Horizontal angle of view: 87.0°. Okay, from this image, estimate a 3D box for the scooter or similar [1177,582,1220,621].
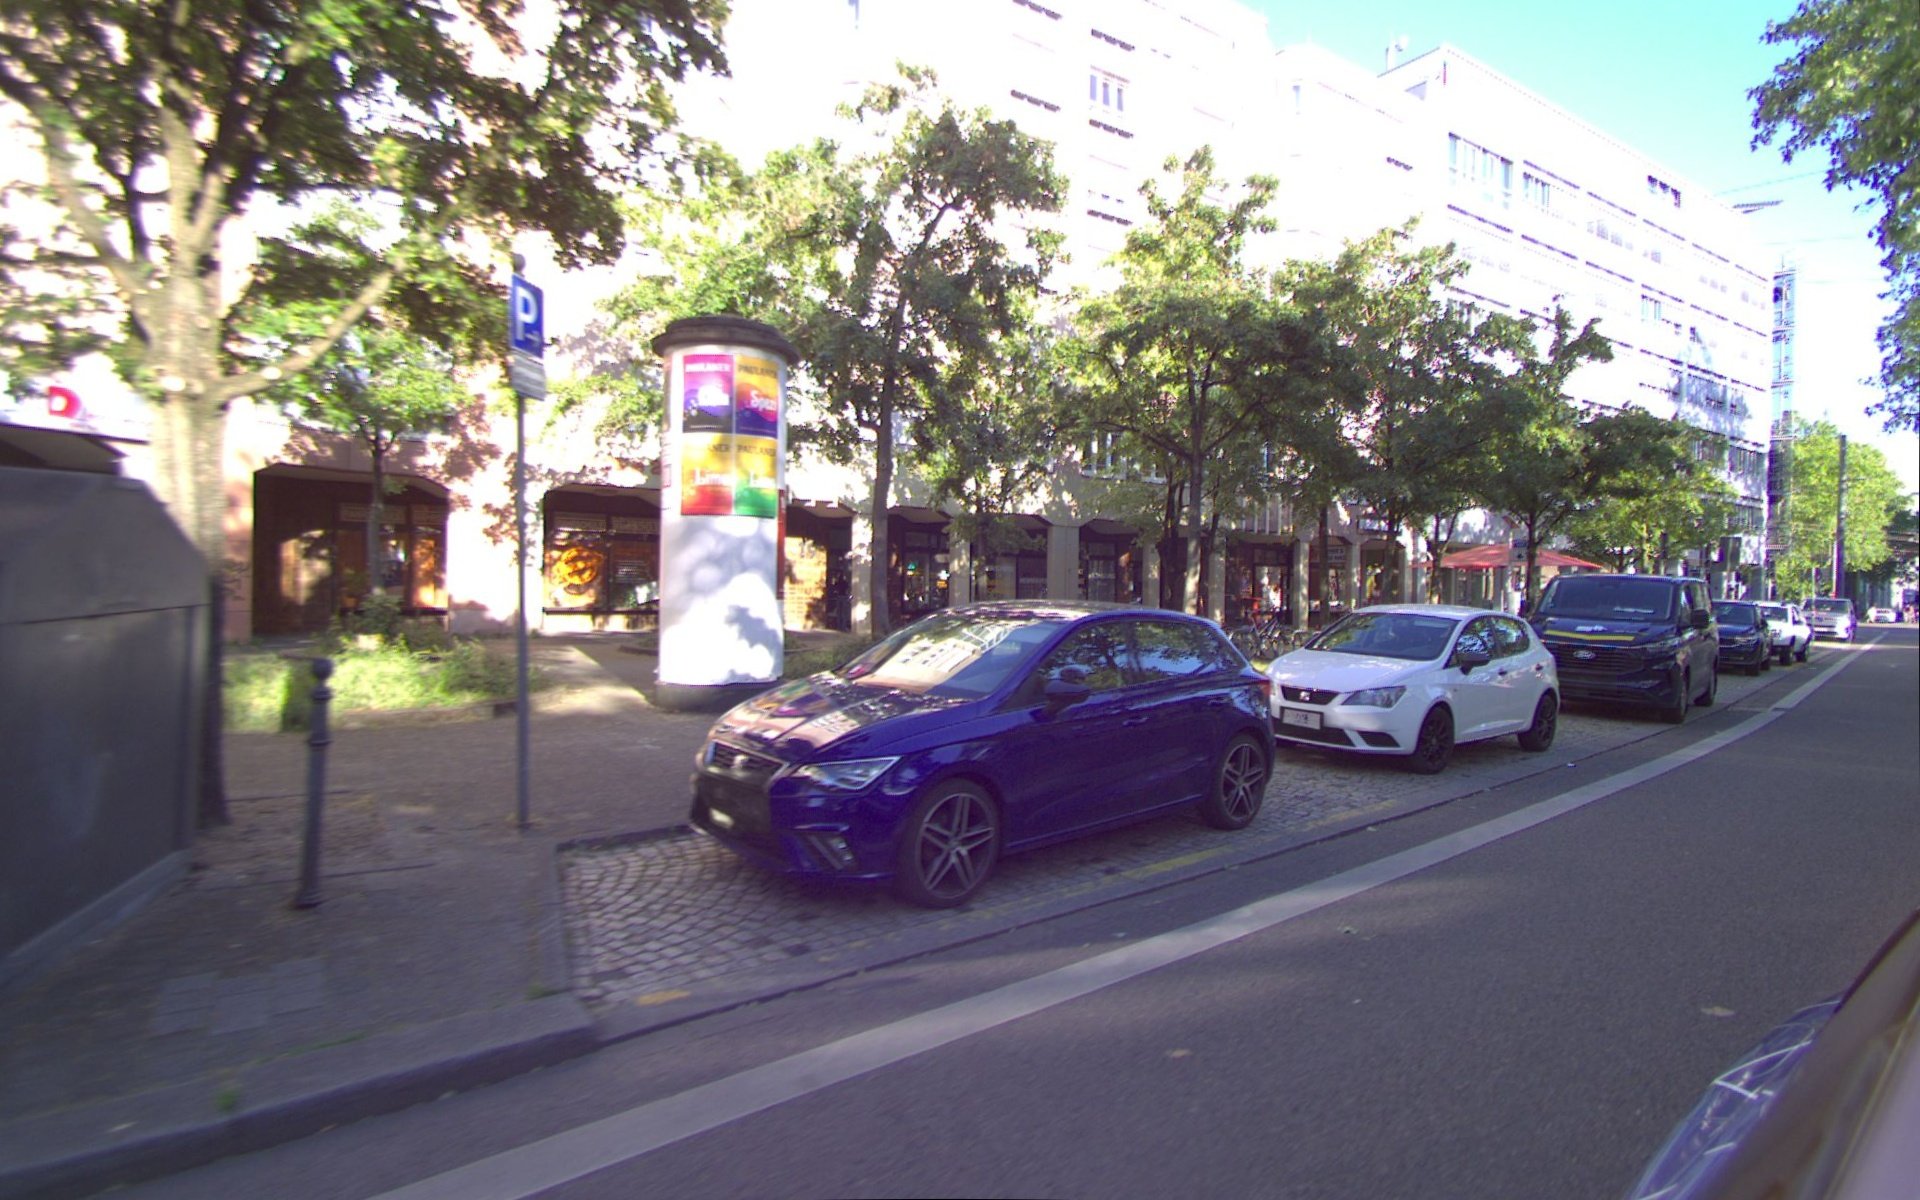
[{"bbox_3d":[7.882,0.034,33.466,1.338,1.271,0.667,0,0,-37],"label":"scooter or similar"}]

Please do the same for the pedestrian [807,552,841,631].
[{"bbox_3d":[-4.007,-0.251,29.733,0.787,2.276,0.727,1,0,-24],"label":"pedestrian"}]

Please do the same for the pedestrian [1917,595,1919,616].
[{"bbox_3d":[95.969,0.557,100.993,0.613,2.039,0.521,1,0,44],"label":"pedestrian"}]

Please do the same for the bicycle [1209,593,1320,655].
[{"bbox_3d":[6.139,0.476,20.402,2.138,1.202,0.657,1,0,-17],"label":"bicycle"}]

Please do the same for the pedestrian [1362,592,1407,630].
[{"bbox_3d":[14.044,0.345,33.485,1.102,1.228,0.888,0,0,-35],"label":"pedestrian"}]

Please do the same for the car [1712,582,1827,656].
[{"bbox_3d":[21.764,0.461,27.159,4.386,1.745,1.800,0,3,-44],"label":"car"}]

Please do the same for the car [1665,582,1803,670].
[{"bbox_3d":[17.786,0.526,23.175,4.498,1.745,1.800,0,3,-44],"label":"car"}]

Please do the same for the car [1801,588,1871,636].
[{"bbox_3d":[38.172,0.488,44.060,4.782,1.928,1.919,0,3,-45],"label":"car"}]

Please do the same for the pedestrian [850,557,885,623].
[{"bbox_3d":[-2.697,-0.295,29.469,0.874,1.895,0.727,1,0,-17],"label":"pedestrian"}]

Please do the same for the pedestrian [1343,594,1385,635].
[{"bbox_3d":[12.945,0.459,32.433,0.952,1.266,0.930,1,1,-41],"label":"pedestrian"}]

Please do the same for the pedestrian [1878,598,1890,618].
[{"bbox_3d":[93.108,0.805,101.989,0.642,2.039,0.648,1,0,-18],"label":"pedestrian"}]

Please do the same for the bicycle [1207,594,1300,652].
[{"bbox_3d":[6.121,0.484,21.101,1.872,1.169,0.486,1,0,-17],"label":"bicycle"}]

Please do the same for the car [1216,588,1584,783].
[{"bbox_3d":[4.454,0.672,9.957,4.102,1.483,1.705,0,2,-41],"label":"car"}]

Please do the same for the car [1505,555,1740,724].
[{"bbox_3d":[9.743,0.439,14.680,2.037,1.967,5.119,4,3,42],"label":"car"}]

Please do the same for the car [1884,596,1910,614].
[{"bbox_3d":[96.279,0.525,104.006,1.861,1.756,3.955,2,1,44],"label":"car"}]

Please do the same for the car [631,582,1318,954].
[{"bbox_3d":[0.343,0.689,6.229,4.175,1.502,1.705,0,2,-42],"label":"car"}]
